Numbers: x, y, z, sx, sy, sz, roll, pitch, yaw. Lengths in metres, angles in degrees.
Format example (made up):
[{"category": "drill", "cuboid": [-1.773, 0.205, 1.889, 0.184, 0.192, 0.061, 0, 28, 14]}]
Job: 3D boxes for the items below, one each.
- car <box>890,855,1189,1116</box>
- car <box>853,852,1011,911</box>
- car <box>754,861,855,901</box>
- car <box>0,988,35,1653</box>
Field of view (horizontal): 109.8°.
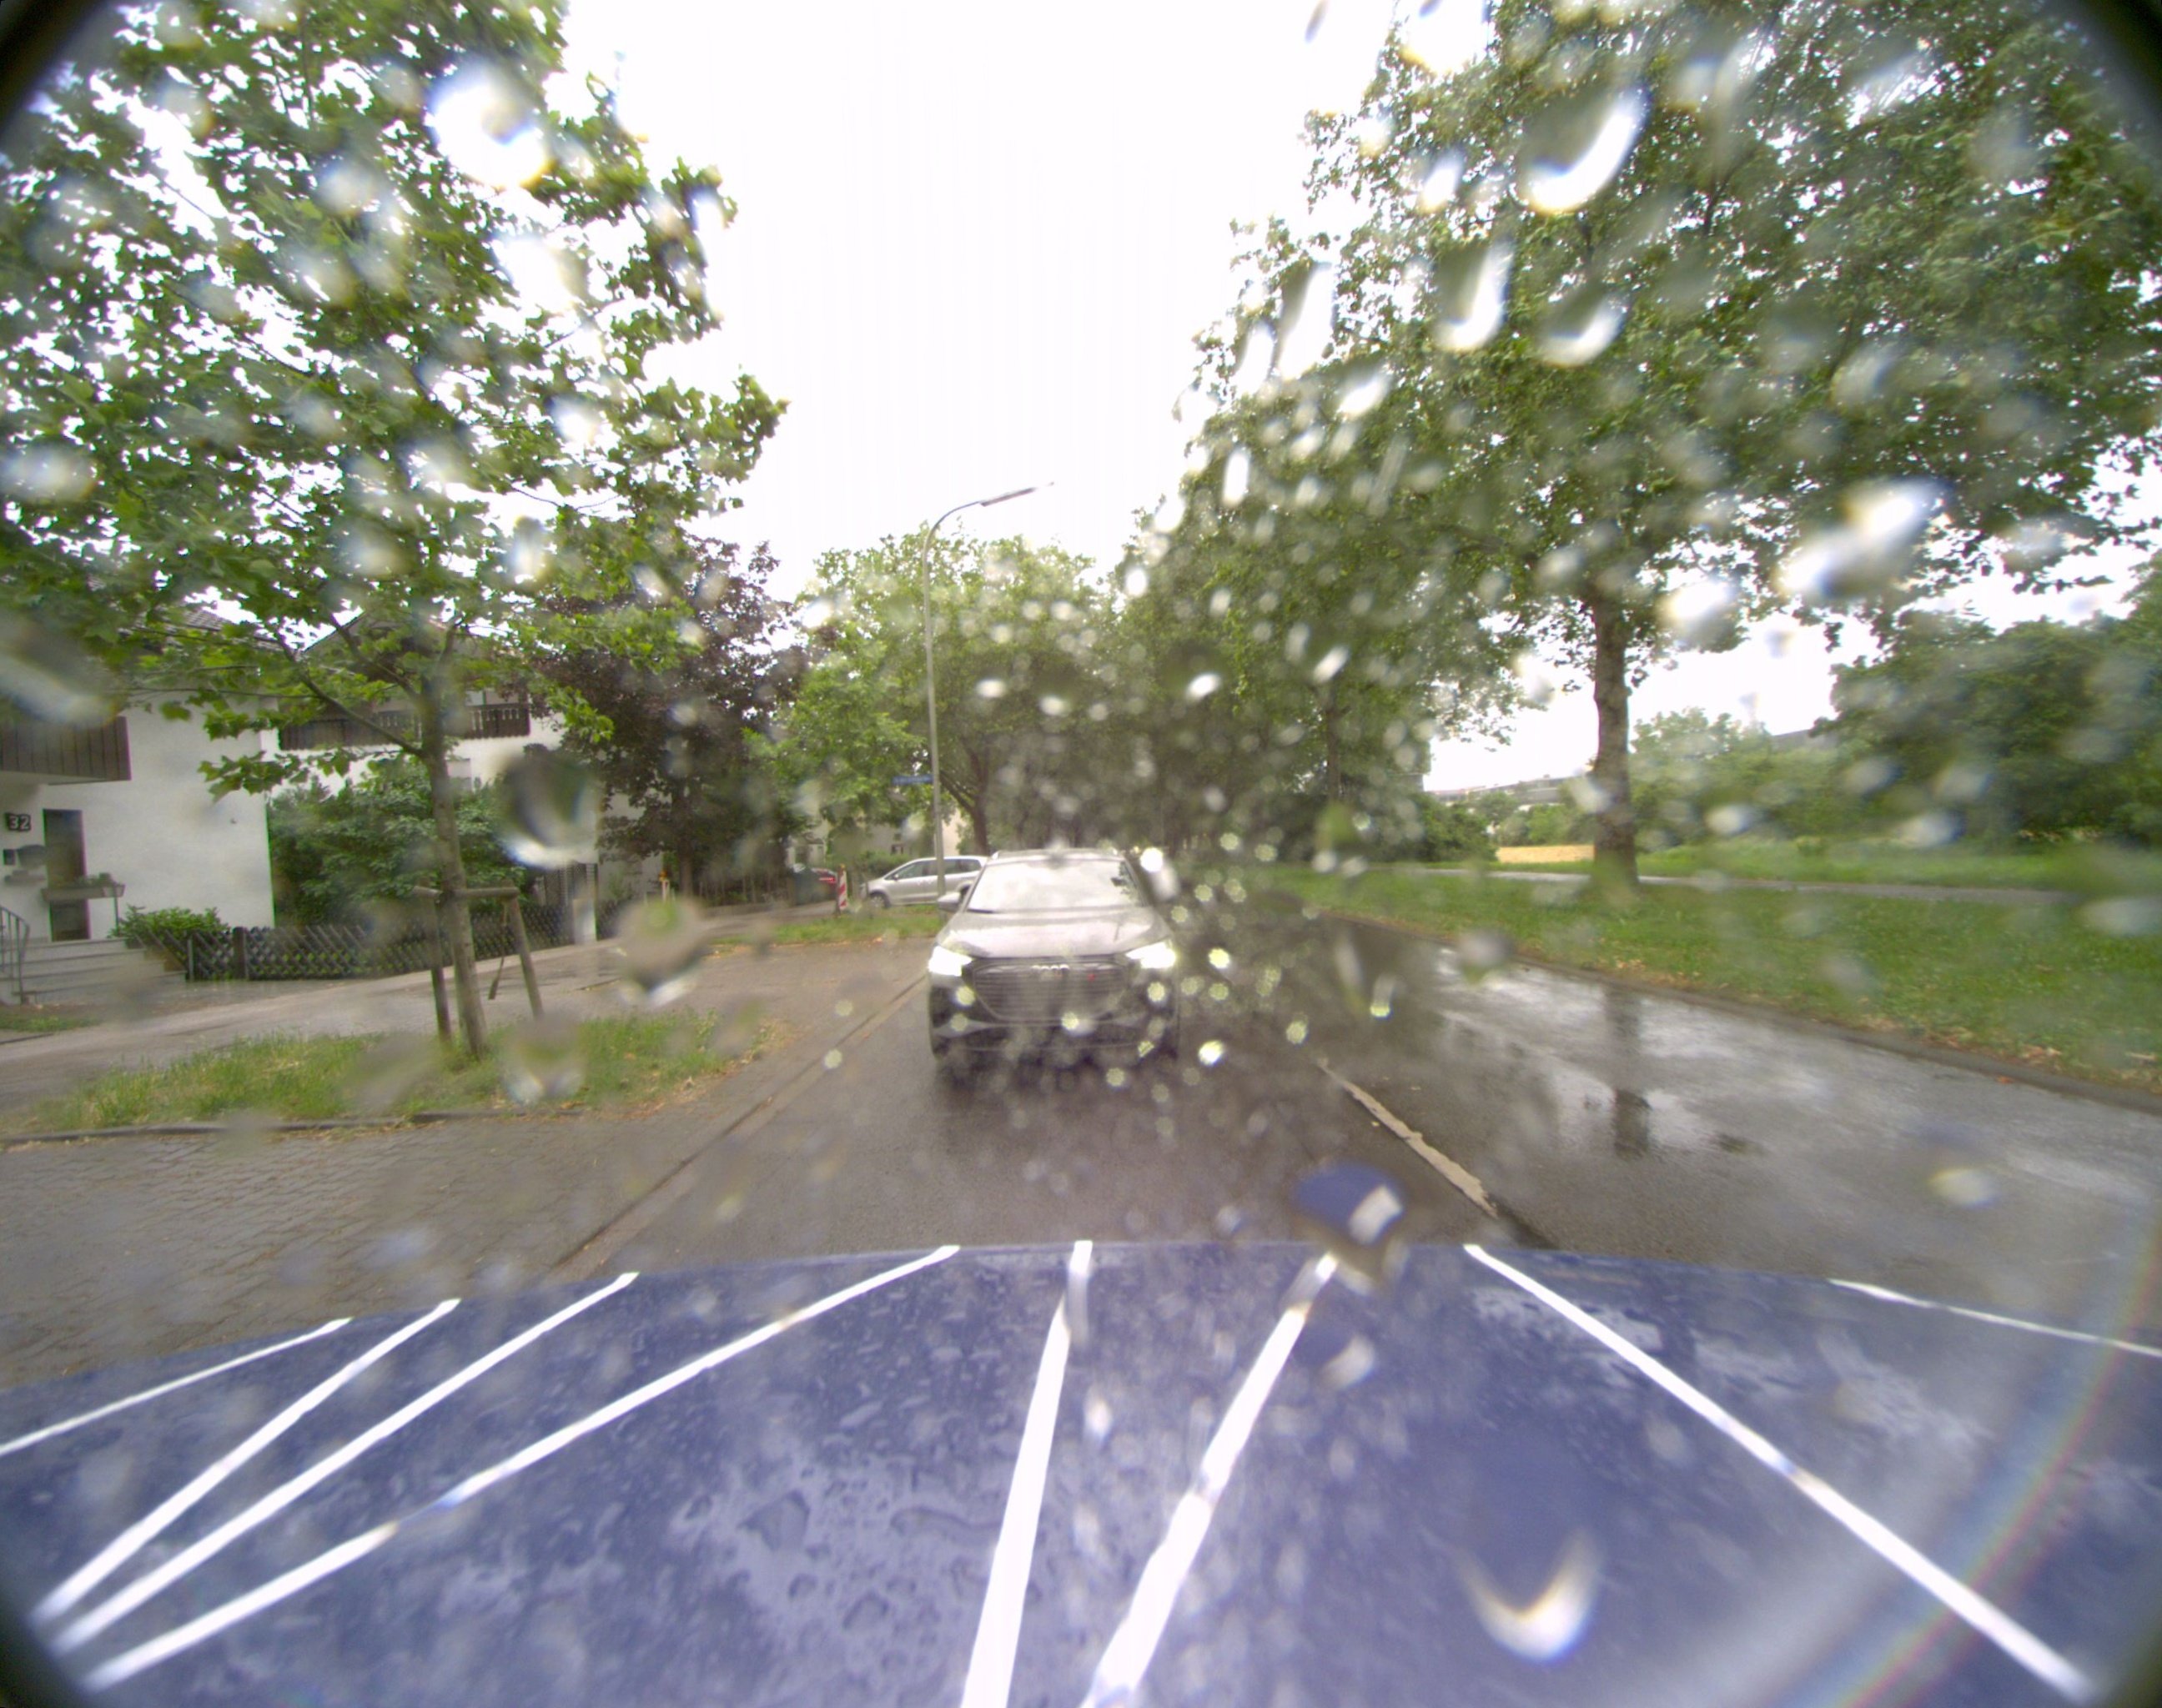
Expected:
[{"category": "car", "cuboid": [-0.231, 0.857, 7.122, 1.862, 1.608, 4.423, -3, 0, 1]}, {"category": "car", "cuboid": [-4.755, 0.866, 24.768, 4.701, 1.651, 1.976, -3, 0, -1]}, {"category": "car", "cuboid": [-12.634, 1.238, 34.885, 3.853, 1.603, 1.843, -3, 0, 2]}, {"category": "car", "cuboid": [-4.749, 1.128, 0.613, 4.779, 1.464, 1.937, -2, 0, -4]}]
